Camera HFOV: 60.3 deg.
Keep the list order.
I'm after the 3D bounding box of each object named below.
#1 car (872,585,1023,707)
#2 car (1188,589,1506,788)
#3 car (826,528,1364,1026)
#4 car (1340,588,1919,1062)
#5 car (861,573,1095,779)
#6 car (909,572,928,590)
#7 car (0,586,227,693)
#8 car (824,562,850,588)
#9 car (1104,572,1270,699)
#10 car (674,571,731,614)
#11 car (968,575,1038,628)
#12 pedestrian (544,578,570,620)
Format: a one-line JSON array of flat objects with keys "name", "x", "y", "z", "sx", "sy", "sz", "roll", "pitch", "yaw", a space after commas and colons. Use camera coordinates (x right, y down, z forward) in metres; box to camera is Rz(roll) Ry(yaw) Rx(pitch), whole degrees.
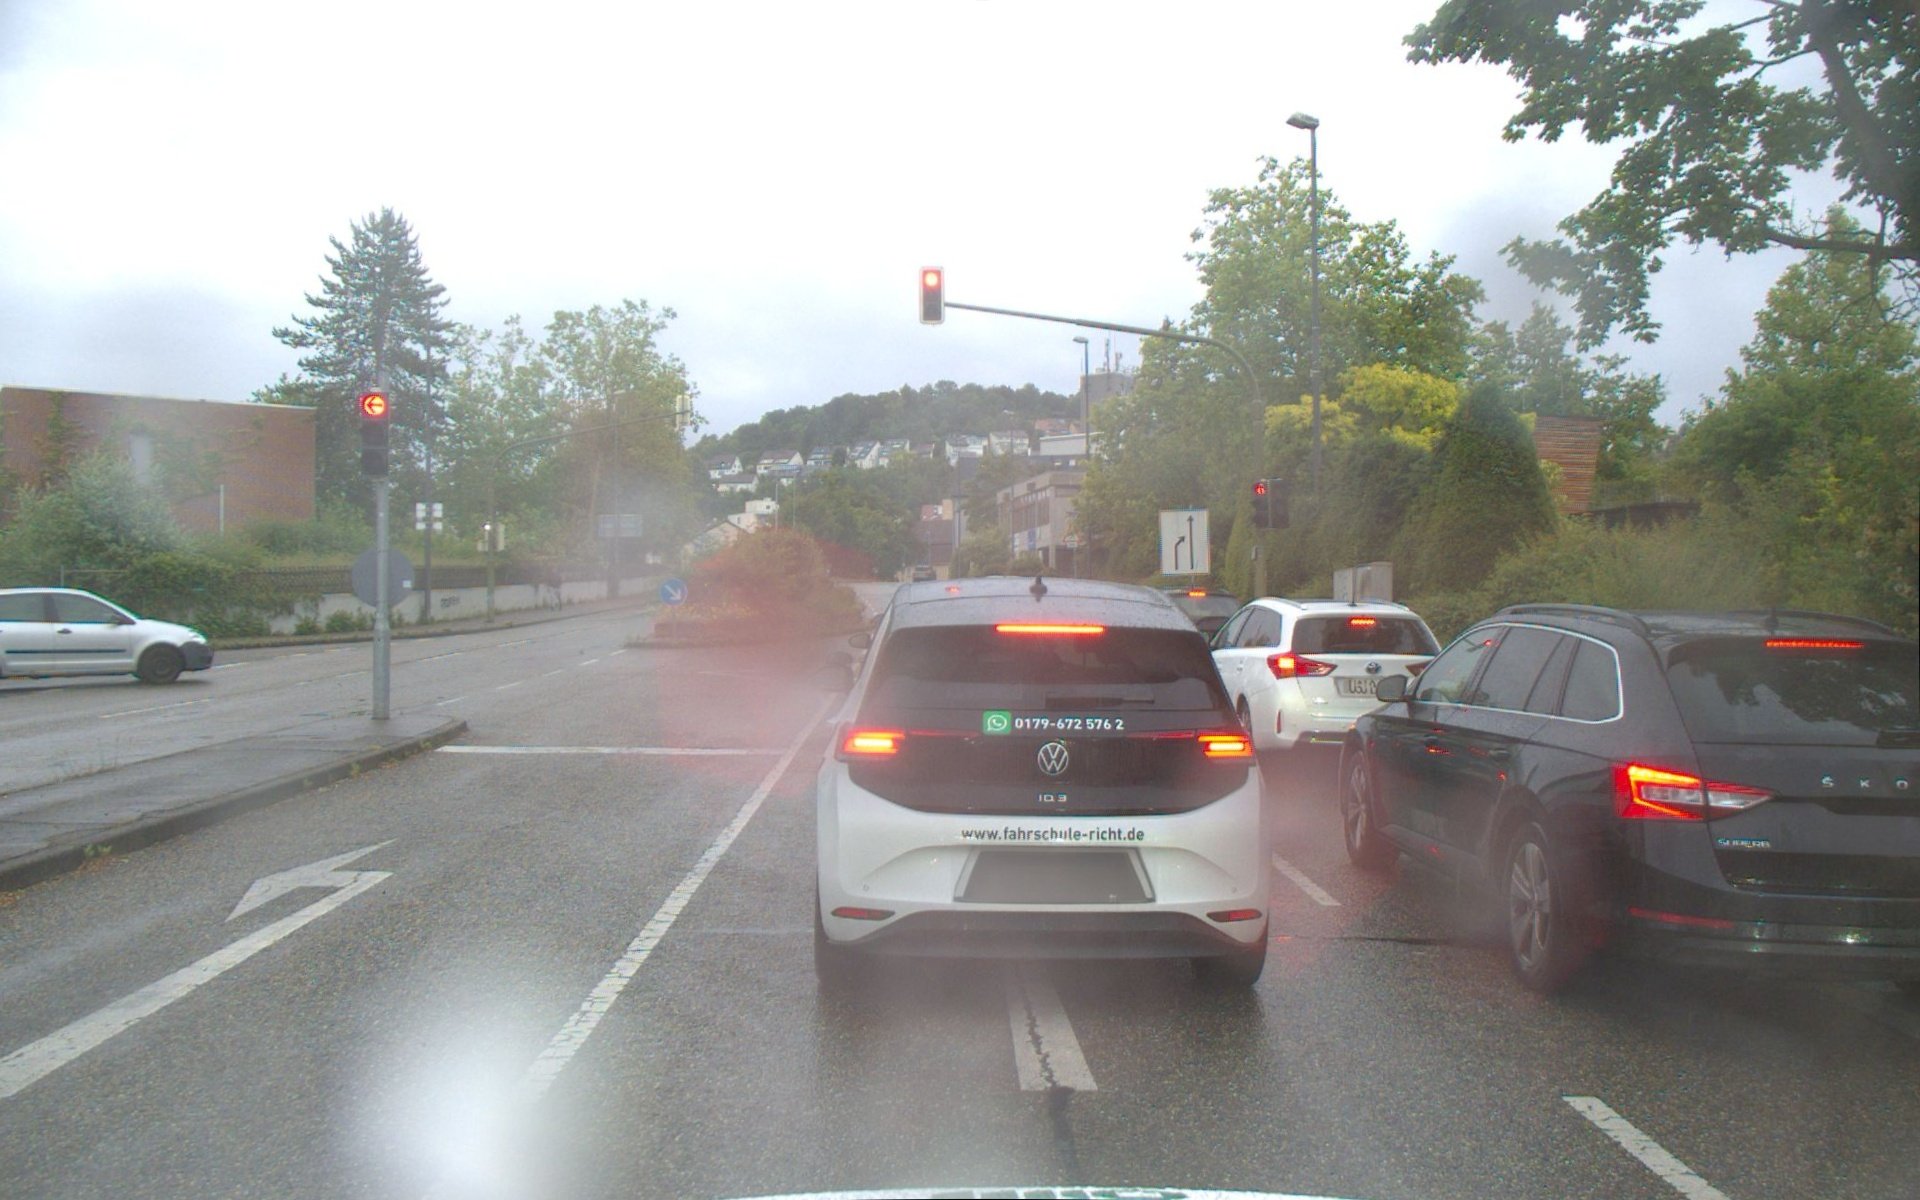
[{"name": "car", "x": -0.199, "y": 0.541, "z": 21.953, "sx": 1.800, "sy": 1.424, "sz": 3.830, "roll": 1, "pitch": 1, "yaw": -1}, {"name": "car", "x": 3.308, "y": 0.681, "z": 14.980, "sx": 1.800, "sy": 1.492, "sz": 4.116, "roll": 1, "pitch": 1, "yaw": -1}, {"name": "car", "x": 0.409, "y": 0.583, "z": 7.942, "sx": 1.800, "sy": 1.657, "sz": 4.614, "roll": 1, "pitch": 1, "yaw": -1}, {"name": "car", "x": 3.115, "y": 0.719, "z": 7.498, "sx": 1.800, "sy": 1.492, "sz": 4.350, "roll": 1, "pitch": 1, "yaw": 1}, {"name": "car", "x": 0.093, "y": 0.576, "z": 15.106, "sx": 1.800, "sy": 1.582, "sz": 4.174, "roll": 1, "pitch": 1, "yaw": -1}, {"name": "car", "x": -3.859, "y": -1.765, "z": 154.777, "sx": 1.739, "sy": 1.609, "sz": 3.999, "roll": -2, "pitch": 0, "yaw": -1}, {"name": "car", "x": -13.309, "y": 0.584, "z": 24.898, "sx": 3.951, "sy": 1.492, "sz": 1.568, "roll": -1, "pitch": 0, "yaw": -34}, {"name": "car", "x": -10.378, "y": -2.086, "z": 139.959, "sx": 1.953, "sy": 2.049, "sz": 3.999, "roll": 1, "pitch": -1, "yaw": -1}, {"name": "car", "x": 3.116, "y": 0.459, "z": 23.430, "sx": 1.739, "sy": 1.609, "sz": 3.999, "roll": 1, "pitch": 0, "yaw": -1}, {"name": "car", "x": -11.971, "y": -0.352, "z": 77.097, "sx": 1.953, "sy": 1.836, "sz": 3.999, "roll": -3, "pitch": 0, "yaw": -1}, {"name": "car", "x": 1.220, "y": 0.009, "z": 48.016, "sx": 1.726, "sy": 1.443, "sz": 3.747, "roll": -1, "pitch": 1, "yaw": -3}, {"name": "pedestrian", "x": -15.635, "y": -0.052, "z": 64.157, "sx": 0.744, "sy": 1.595, "sz": 0.825, "roll": -2, "pitch": 0, "yaw": -2}]
